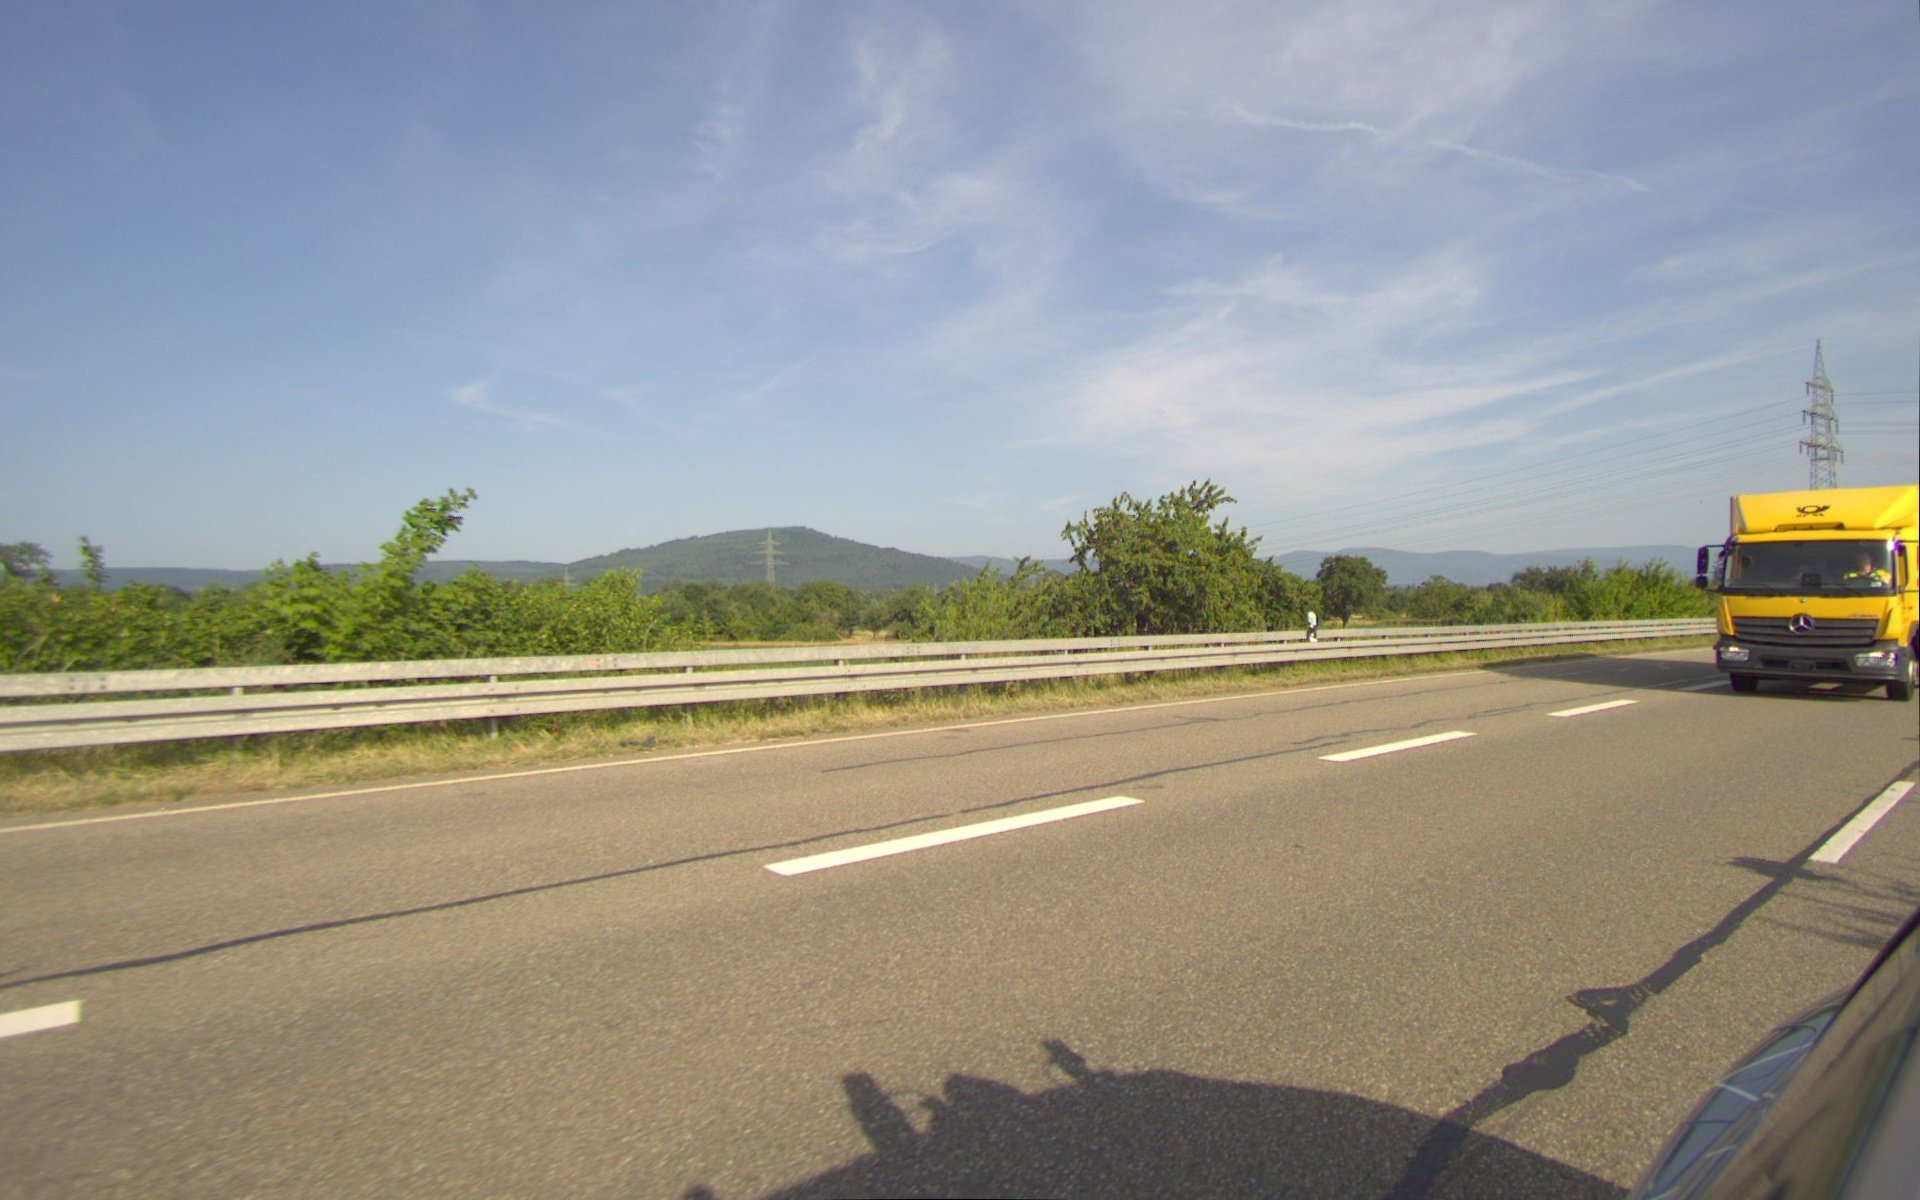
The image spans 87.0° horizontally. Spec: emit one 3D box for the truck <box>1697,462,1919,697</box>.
[{"bbox_3d":[16.808,-0.302,18.781,10.304,3.359,2.784,0,0,-41],"label":"truck"}]
